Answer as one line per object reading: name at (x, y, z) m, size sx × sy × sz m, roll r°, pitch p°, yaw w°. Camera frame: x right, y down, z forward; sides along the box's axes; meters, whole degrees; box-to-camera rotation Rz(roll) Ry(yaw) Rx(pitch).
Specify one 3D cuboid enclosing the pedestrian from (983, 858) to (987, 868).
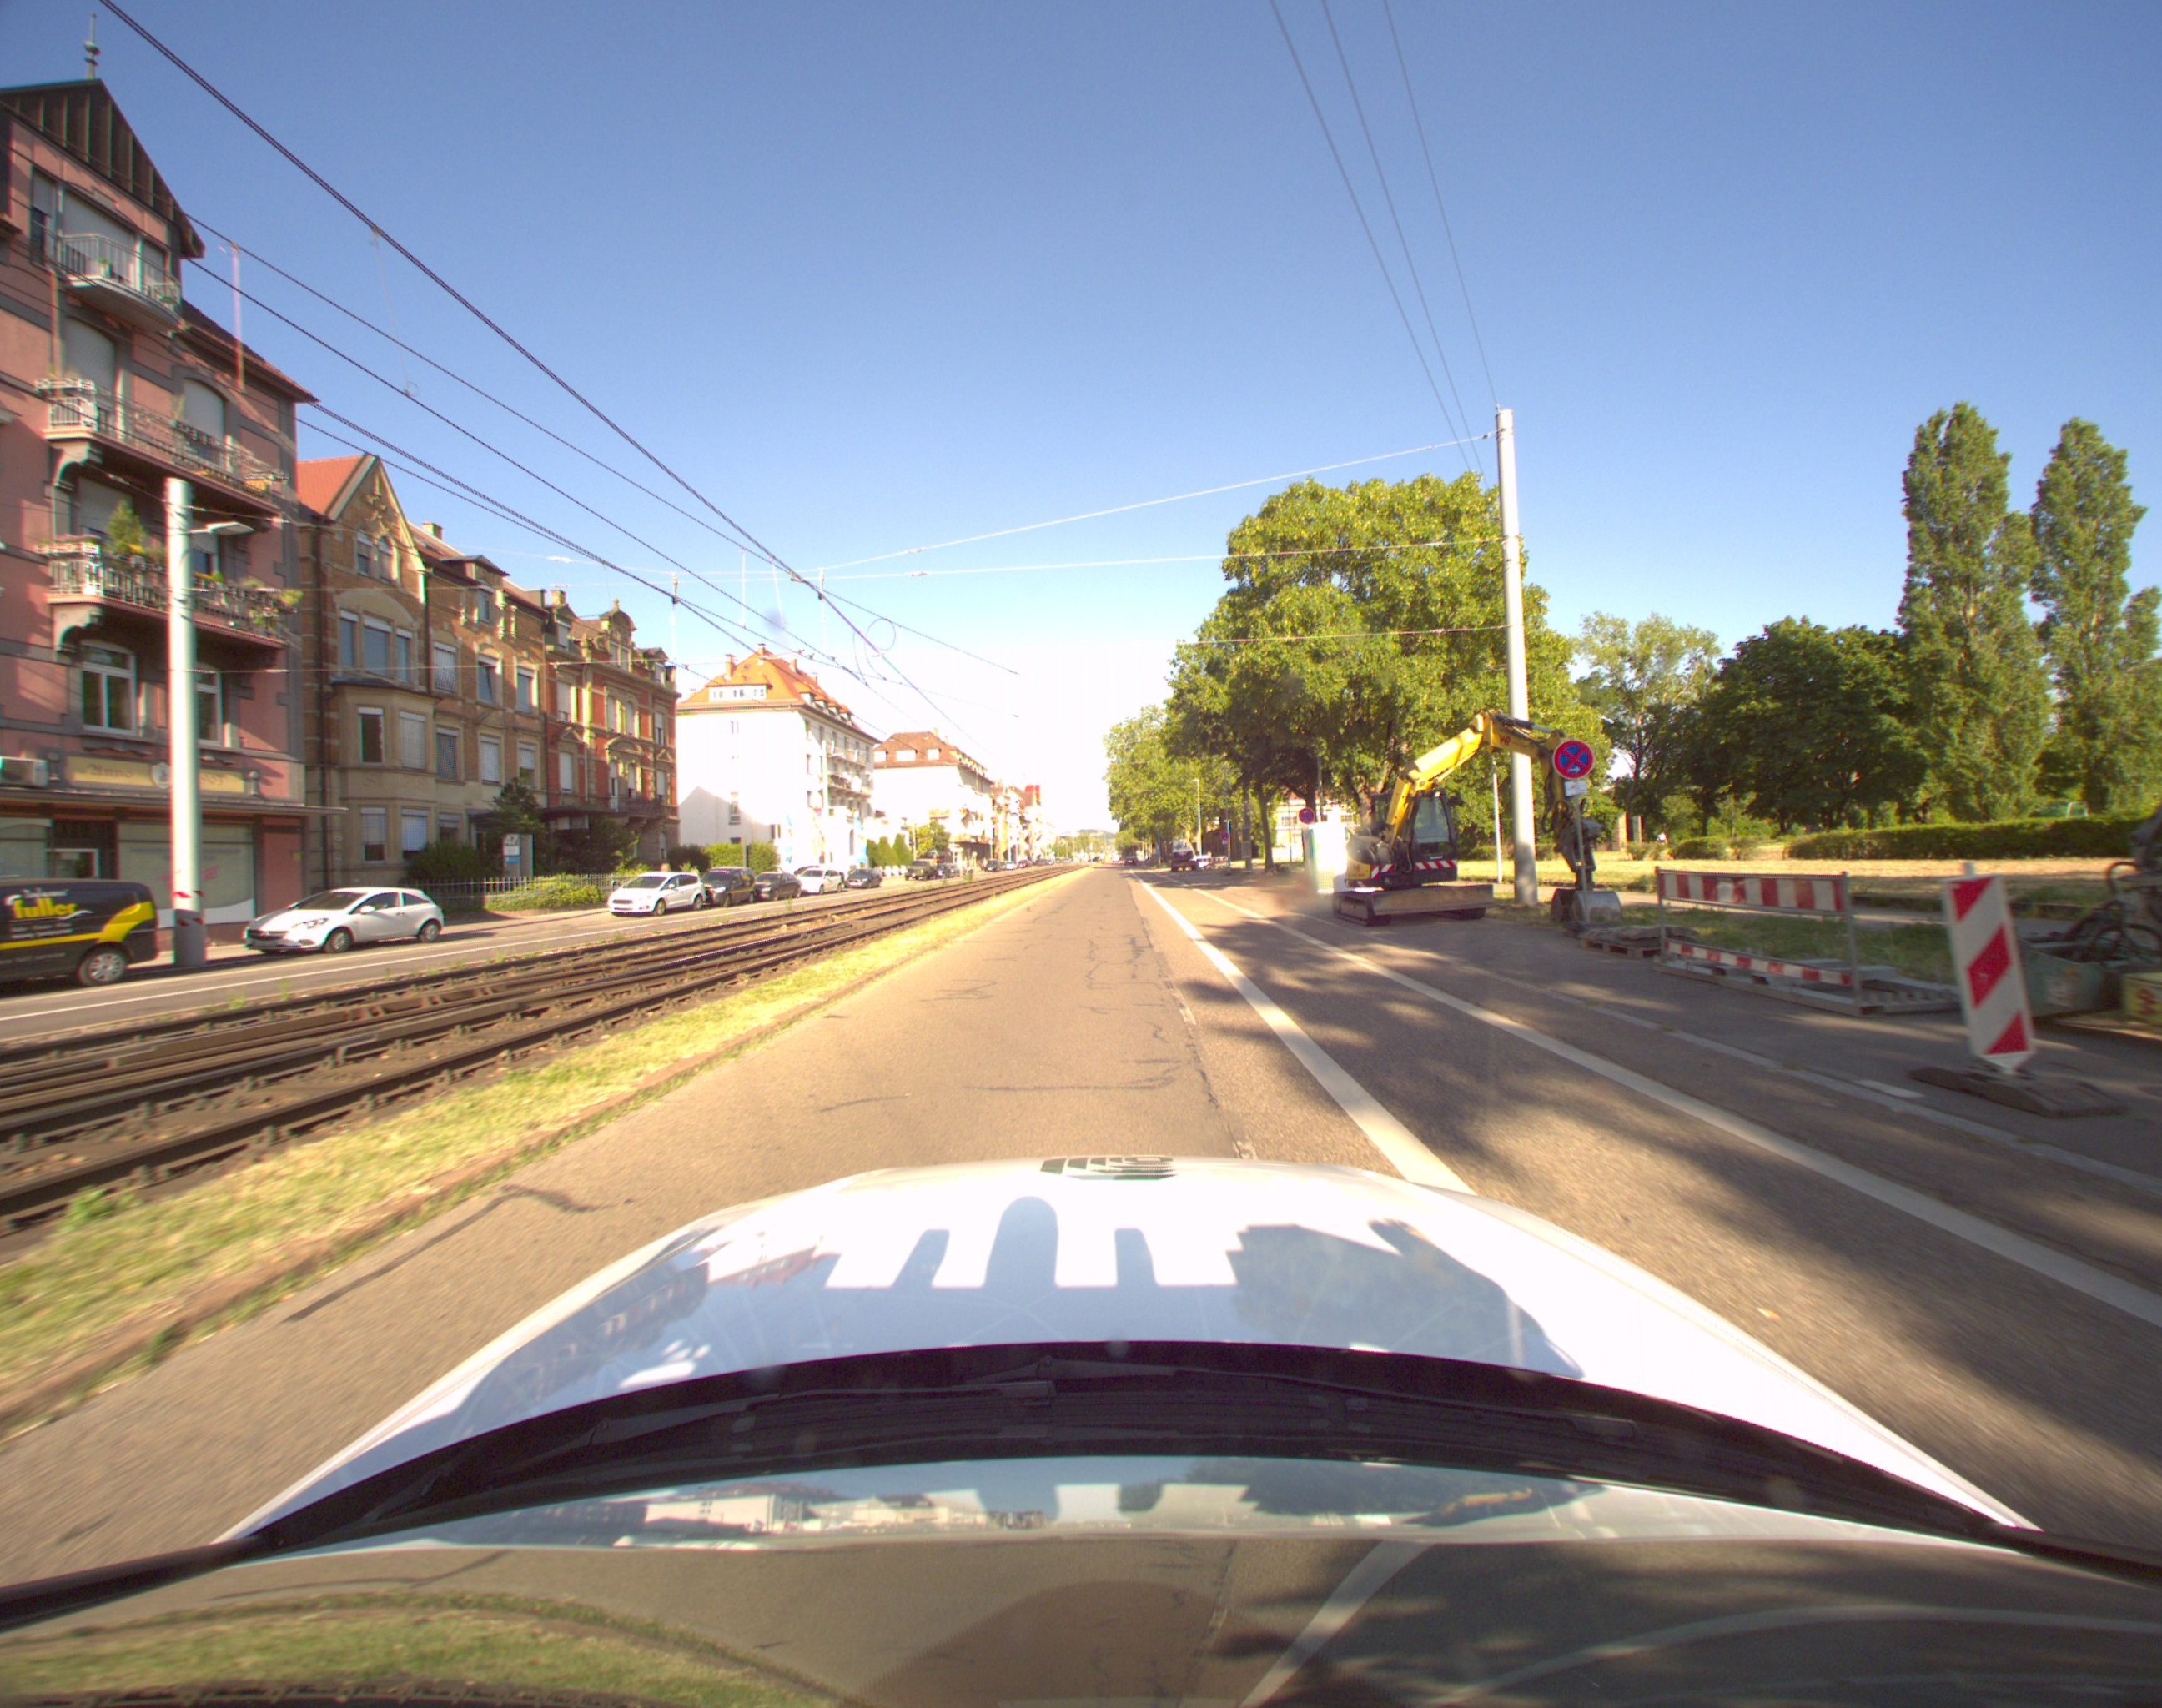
pedestrian at (-15.142, 1.417, 128.447) m, size 0.586 × 1.697 × 0.858 m, roll 0°, pitch -1°, yaw 4°

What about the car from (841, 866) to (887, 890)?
car at (-15.669, 1.714, 59.019) m, size 1.914 × 1.461 × 4.843 m, roll 3°, pitch 0°, yaw 1°

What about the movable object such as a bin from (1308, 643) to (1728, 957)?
movable object such as a bin at (6.977, -0.718, 14.834) m, size 3.327 × 3.976 × 7.598 m, roll -5°, pitch 0°, yaw 1°

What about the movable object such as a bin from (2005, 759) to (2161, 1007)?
movable object such as a bin at (8.094, 0.149, 5.801) m, size 1.311 × 1.668 × 1.305 m, roll -8°, pitch -1°, yaw 6°

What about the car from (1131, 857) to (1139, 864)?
car at (13.346, 1.642, 200.578) m, size 1.787 × 1.510 × 4.002 m, roll -2°, pitch 0°, yaw 2°

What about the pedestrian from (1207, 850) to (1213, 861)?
pedestrian at (19.226, 0.241, 121.685) m, size 0.606 × 1.681 × 0.636 m, roll -6°, pitch -1°, yaw 0°

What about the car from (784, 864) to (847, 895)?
car at (-16.102, 1.506, 49.698) m, size 1.911 × 1.694 × 4.848 m, roll -1°, pitch 0°, yaw 5°

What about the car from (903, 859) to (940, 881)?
car at (-15.270, 1.490, 78.177) m, size 2.067 × 2.010 × 5.598 m, roll 0°, pitch 0°, yaw 4°

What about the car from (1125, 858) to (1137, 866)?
car at (8.293, 1.343, 136.145) m, size 1.826 × 1.391 × 4.161 m, roll -2°, pitch 0°, yaw 2°

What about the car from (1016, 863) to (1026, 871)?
car at (-11.763, 2.554, 159.545) m, size 1.829 × 1.391 × 4.032 m, roll 1°, pitch -1°, yaw -2°

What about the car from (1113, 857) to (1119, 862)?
car at (10.335, 1.660, 240.814) m, size 1.787 × 1.510 × 4.001 m, roll 0°, pitch -1°, yaw 2°

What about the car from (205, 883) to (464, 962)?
car at (-17.979, 1.569, 20.001) m, size 1.913 × 1.538 × 4.631 m, roll -1°, pitch 0°, yaw 3°

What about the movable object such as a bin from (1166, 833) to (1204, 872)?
movable object such as a bin at (9.419, -0.177, 74.297) m, size 2.732 × 3.145 × 7.226 m, roll -5°, pitch 0°, yaw 4°

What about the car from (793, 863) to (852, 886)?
car at (-21.605, 1.684, 68.109) m, size 4.101 × 1.633 × 1.958 m, roll -2°, pitch 1°, yaw 12°

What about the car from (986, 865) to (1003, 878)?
car at (-12.877, 2.556, 121.538) m, size 1.855 × 1.786 × 4.403 m, roll 0°, pitch 0°, yaw 2°

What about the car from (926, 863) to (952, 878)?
car at (-14.692, 1.685, 84.560) m, size 1.628 × 1.507 × 4.163 m, roll -1°, pitch -1°, yaw 4°

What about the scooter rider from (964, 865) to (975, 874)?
scooter rider at (-13.286, 1.833, 96.992) m, size 0.966 × 1.089 × 0.813 m, roll -3°, pitch 0°, yaw 33°

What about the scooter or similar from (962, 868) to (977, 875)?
scooter or similar at (-13.312, 2.056, 97.010) m, size 1.549 × 0.770 × 0.813 m, roll -3°, pitch 0°, yaw 33°

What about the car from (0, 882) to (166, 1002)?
car at (-17.797, 1.421, 12.674) m, size 1.653 × 1.807 × 4.730 m, roll -1°, pitch 0°, yaw 2°

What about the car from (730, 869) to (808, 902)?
car at (-16.487, 1.626, 43.279) m, size 1.911 × 1.561 × 4.848 m, roll -1°, pitch 0°, yaw 5°

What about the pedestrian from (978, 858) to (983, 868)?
pedestrian at (-15.841, 1.419, 128.421) m, size 0.586 × 1.697 × 0.858 m, roll 0°, pitch -1°, yaw 4°

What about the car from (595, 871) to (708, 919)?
car at (-17.152, 1.600, 32.802) m, size 1.913 × 1.683 × 4.630 m, roll -1°, pitch 0°, yaw 3°

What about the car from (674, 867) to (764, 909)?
car at (-16.743, 1.534, 37.939) m, size 1.912 × 1.781 × 4.502 m, roll -1°, pitch 0°, yaw 3°
